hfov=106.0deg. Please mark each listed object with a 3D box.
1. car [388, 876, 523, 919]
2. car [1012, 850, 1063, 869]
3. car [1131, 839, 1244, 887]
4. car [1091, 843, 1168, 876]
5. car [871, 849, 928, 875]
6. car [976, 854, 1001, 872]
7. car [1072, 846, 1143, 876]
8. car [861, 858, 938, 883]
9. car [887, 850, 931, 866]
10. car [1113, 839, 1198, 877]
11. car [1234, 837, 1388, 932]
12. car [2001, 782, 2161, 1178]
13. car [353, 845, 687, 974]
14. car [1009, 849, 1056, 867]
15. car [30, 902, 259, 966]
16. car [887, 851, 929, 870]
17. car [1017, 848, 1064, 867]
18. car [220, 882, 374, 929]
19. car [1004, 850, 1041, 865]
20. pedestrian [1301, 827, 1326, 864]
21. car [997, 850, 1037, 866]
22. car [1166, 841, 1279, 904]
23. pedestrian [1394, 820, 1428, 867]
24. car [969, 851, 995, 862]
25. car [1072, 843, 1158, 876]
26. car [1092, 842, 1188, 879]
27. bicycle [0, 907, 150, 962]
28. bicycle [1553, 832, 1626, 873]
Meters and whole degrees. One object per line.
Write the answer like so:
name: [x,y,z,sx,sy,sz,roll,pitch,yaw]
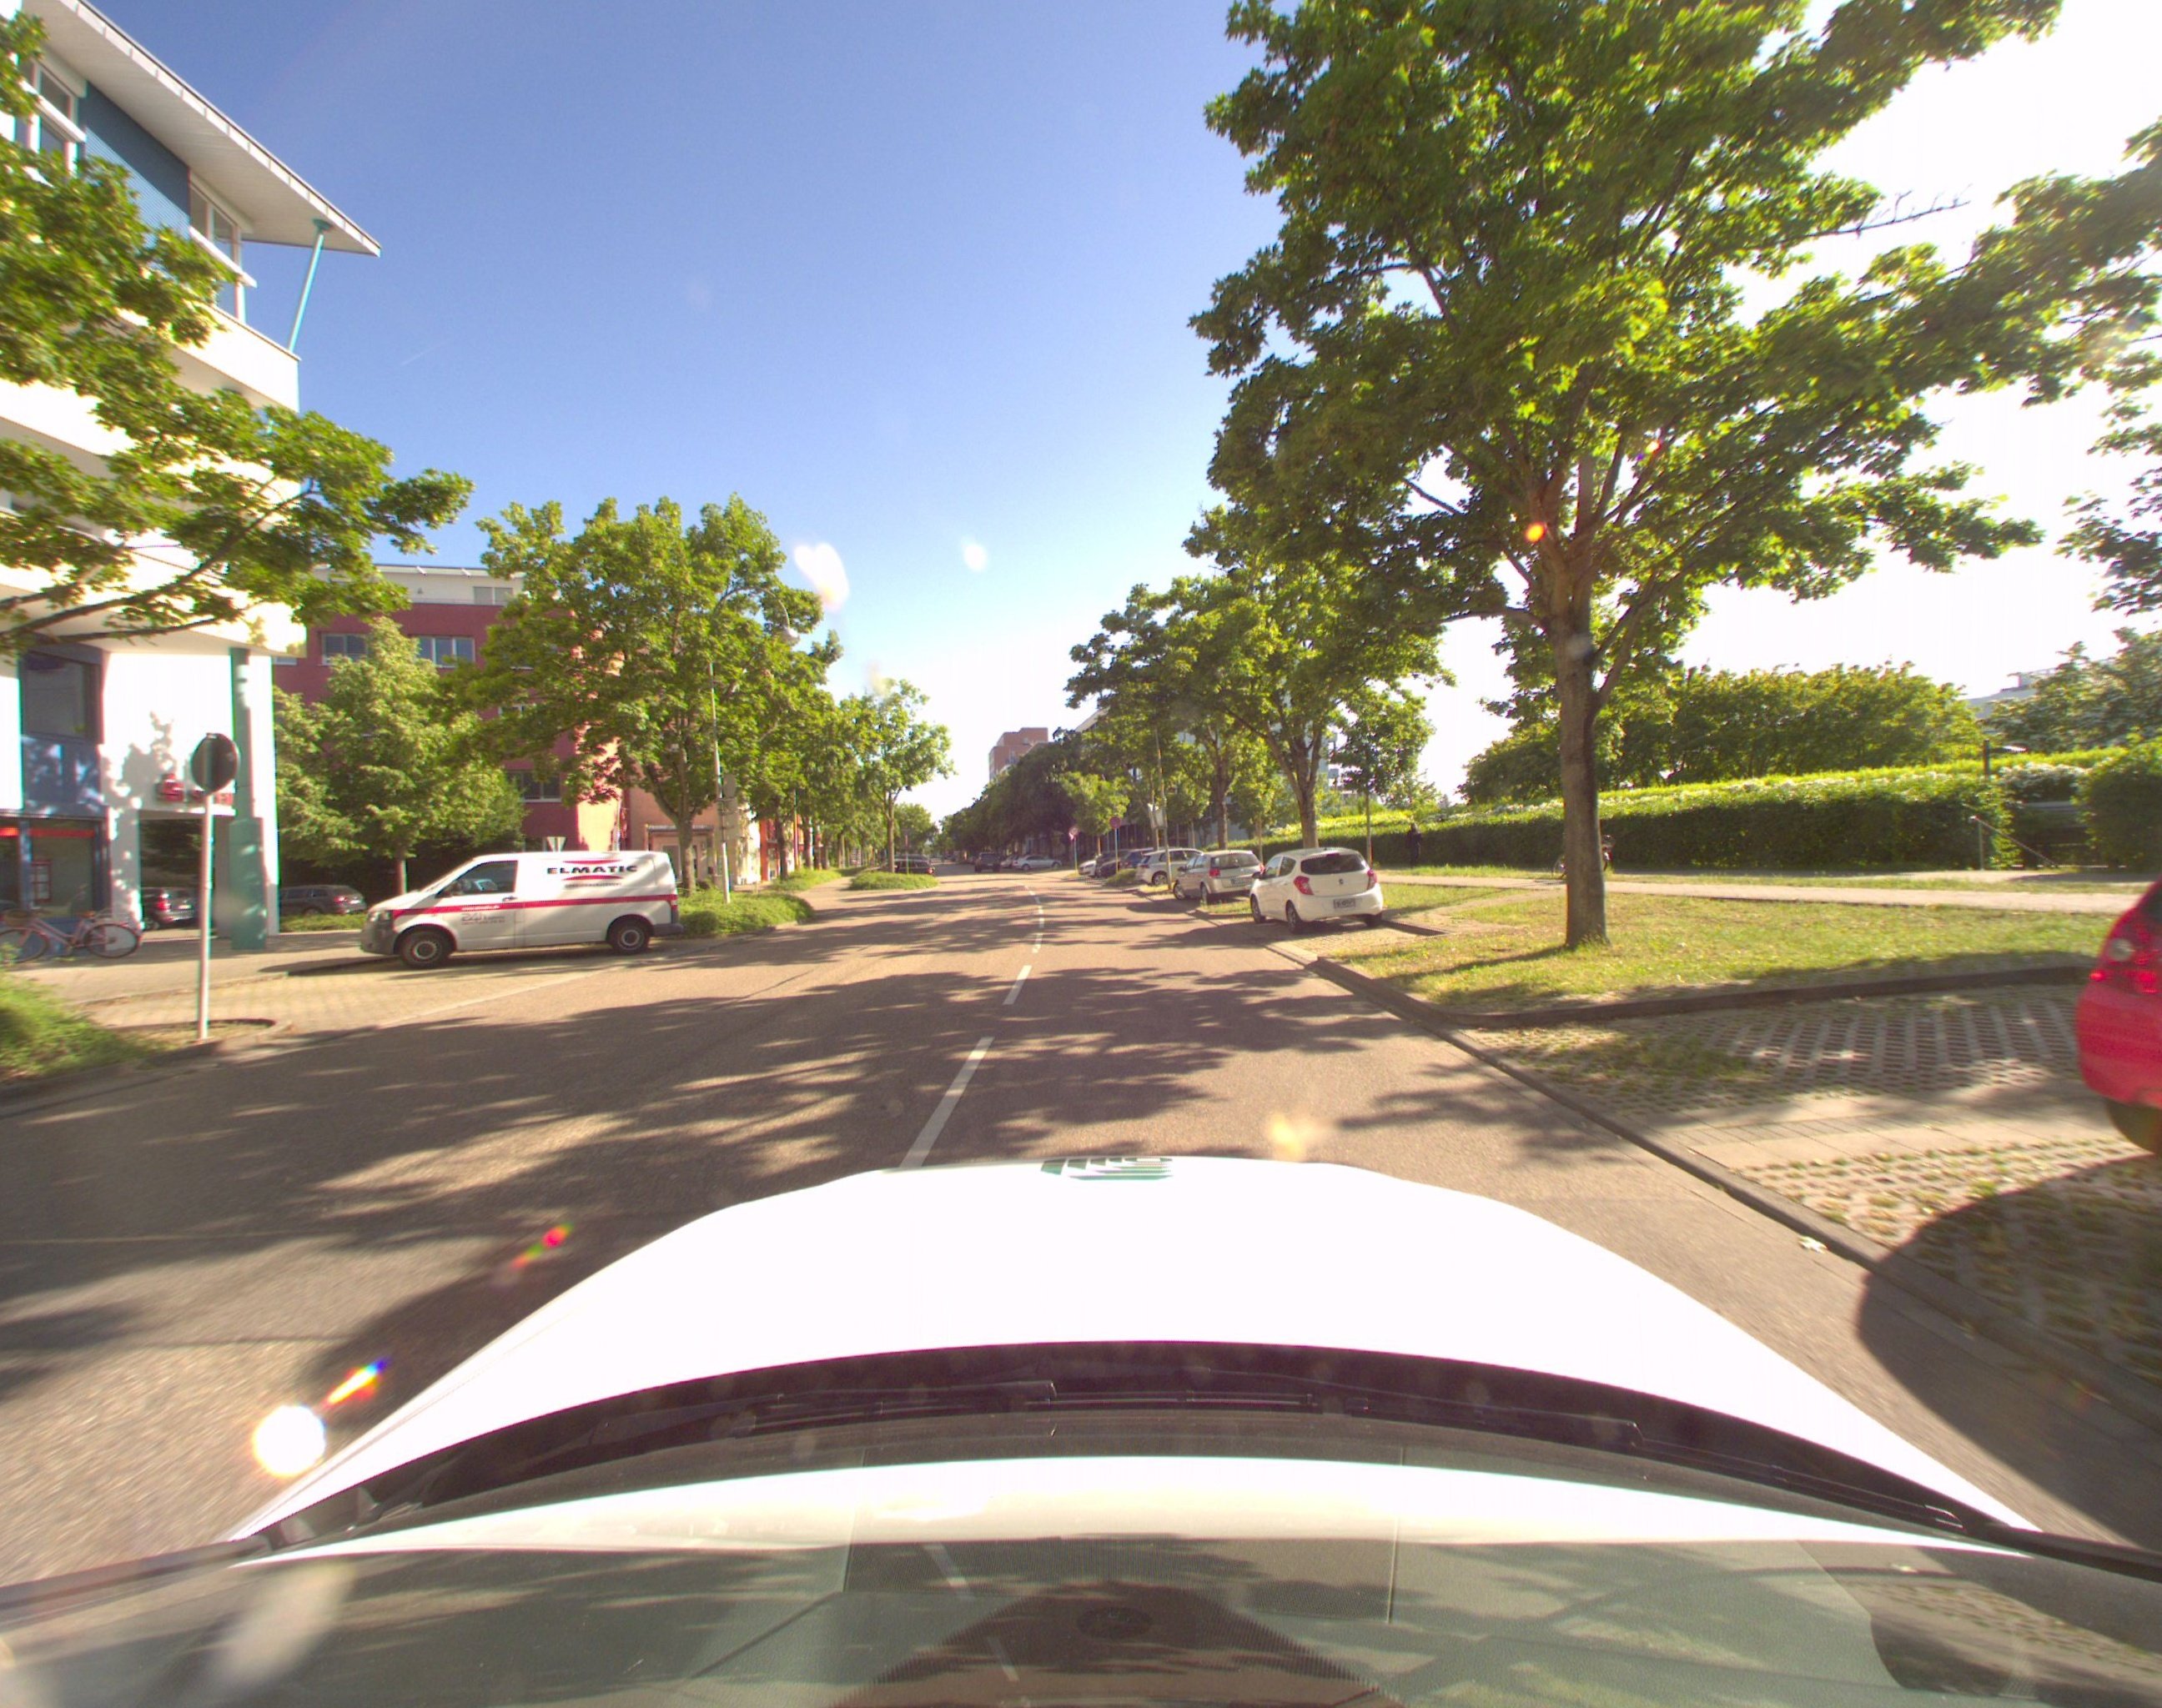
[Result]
car: [-26.410,1.801,34.535,3.998,1.450,1.929,-3,3,-12]
car: [-4.169,0.527,77.429,4.580,1.475,1.740,-4,0,-11]
car: [4.176,0.331,32.297,4.083,1.429,1.640,-6,0,-5]
car: [2.690,0.293,45.436,3.878,1.514,1.744,-5,0,-11]
car: [-12.772,0.546,57.567,3.894,1.811,1.779,-1,0,-12]
car: [-8.680,0.839,75.843,1.995,1.640,3.984,-1,0,-12]
car: [1.637,0.408,50.470,3.958,1.514,1.691,-5,0,-18]
car: [-10.636,0.942,48.007,4.260,1.423,1.735,-1,0,-8]
car: [-21.377,0.469,101.512,5.261,1.967,1.935,-1,0,-12]
car: [3.659,0.202,40.258,3.806,1.448,1.739,-6,0,-10]
car: [4.331,0.522,15.922,1.640,1.493,3.760,-5,0,-4]
car: [5.901,0.355,2.828,3.421,1.544,1.628,-5,0,2]
car: [-10.151,0.864,15.131,4.792,1.985,1.978,-2,1,-36]
car: [-5.127,0.384,85.821,4.524,1.542,1.911,-4,0,-16]
car: [-28.803,2.411,25.213,4.238,1.594,1.992,-1,1,-12]
car: [-19.472,0.745,91.710,4.488,2.090,2.076,-1,0,-10]
car: [-4.097,0.347,82.619,4.512,1.542,1.917,-4,0,-8]
car: [-31.936,2.052,33.302,3.998,1.504,1.929,-3,3,-12]
car: [-6.592,0.382,91.929,3.754,1.493,1.607,-4,0,-18]
pedestrian: [9.942,-0.347,34.874,0.606,1.542,0.934,-3,0,-9]
car: [-7.430,0.450,94.471,4.298,1.493,1.991,-4,0,-18]
car: [3.984,0.500,23.773,1.808,1.493,4.610,-5,0,-8]
pedestrian: [11.455,-0.369,28.295,0.723,1.588,0.850,-3,0,-10]
car: [-17.772,0.435,145.587,4.358,1.703,1.804,-4,0,-15]
car: [2.000,0.334,47.901,4.562,1.514,1.970,-5,0,-18]
car: [3.059,0.344,42.915,4.552,1.514,2.150,-5,0,-11]
bicycle: [-18.835,1.492,15.233,1.813,0.872,0.486,-1,-1,-40]
bicycle: [11.232,-0.024,18.032,0.348,0.866,1.398,-4,0,-23]
